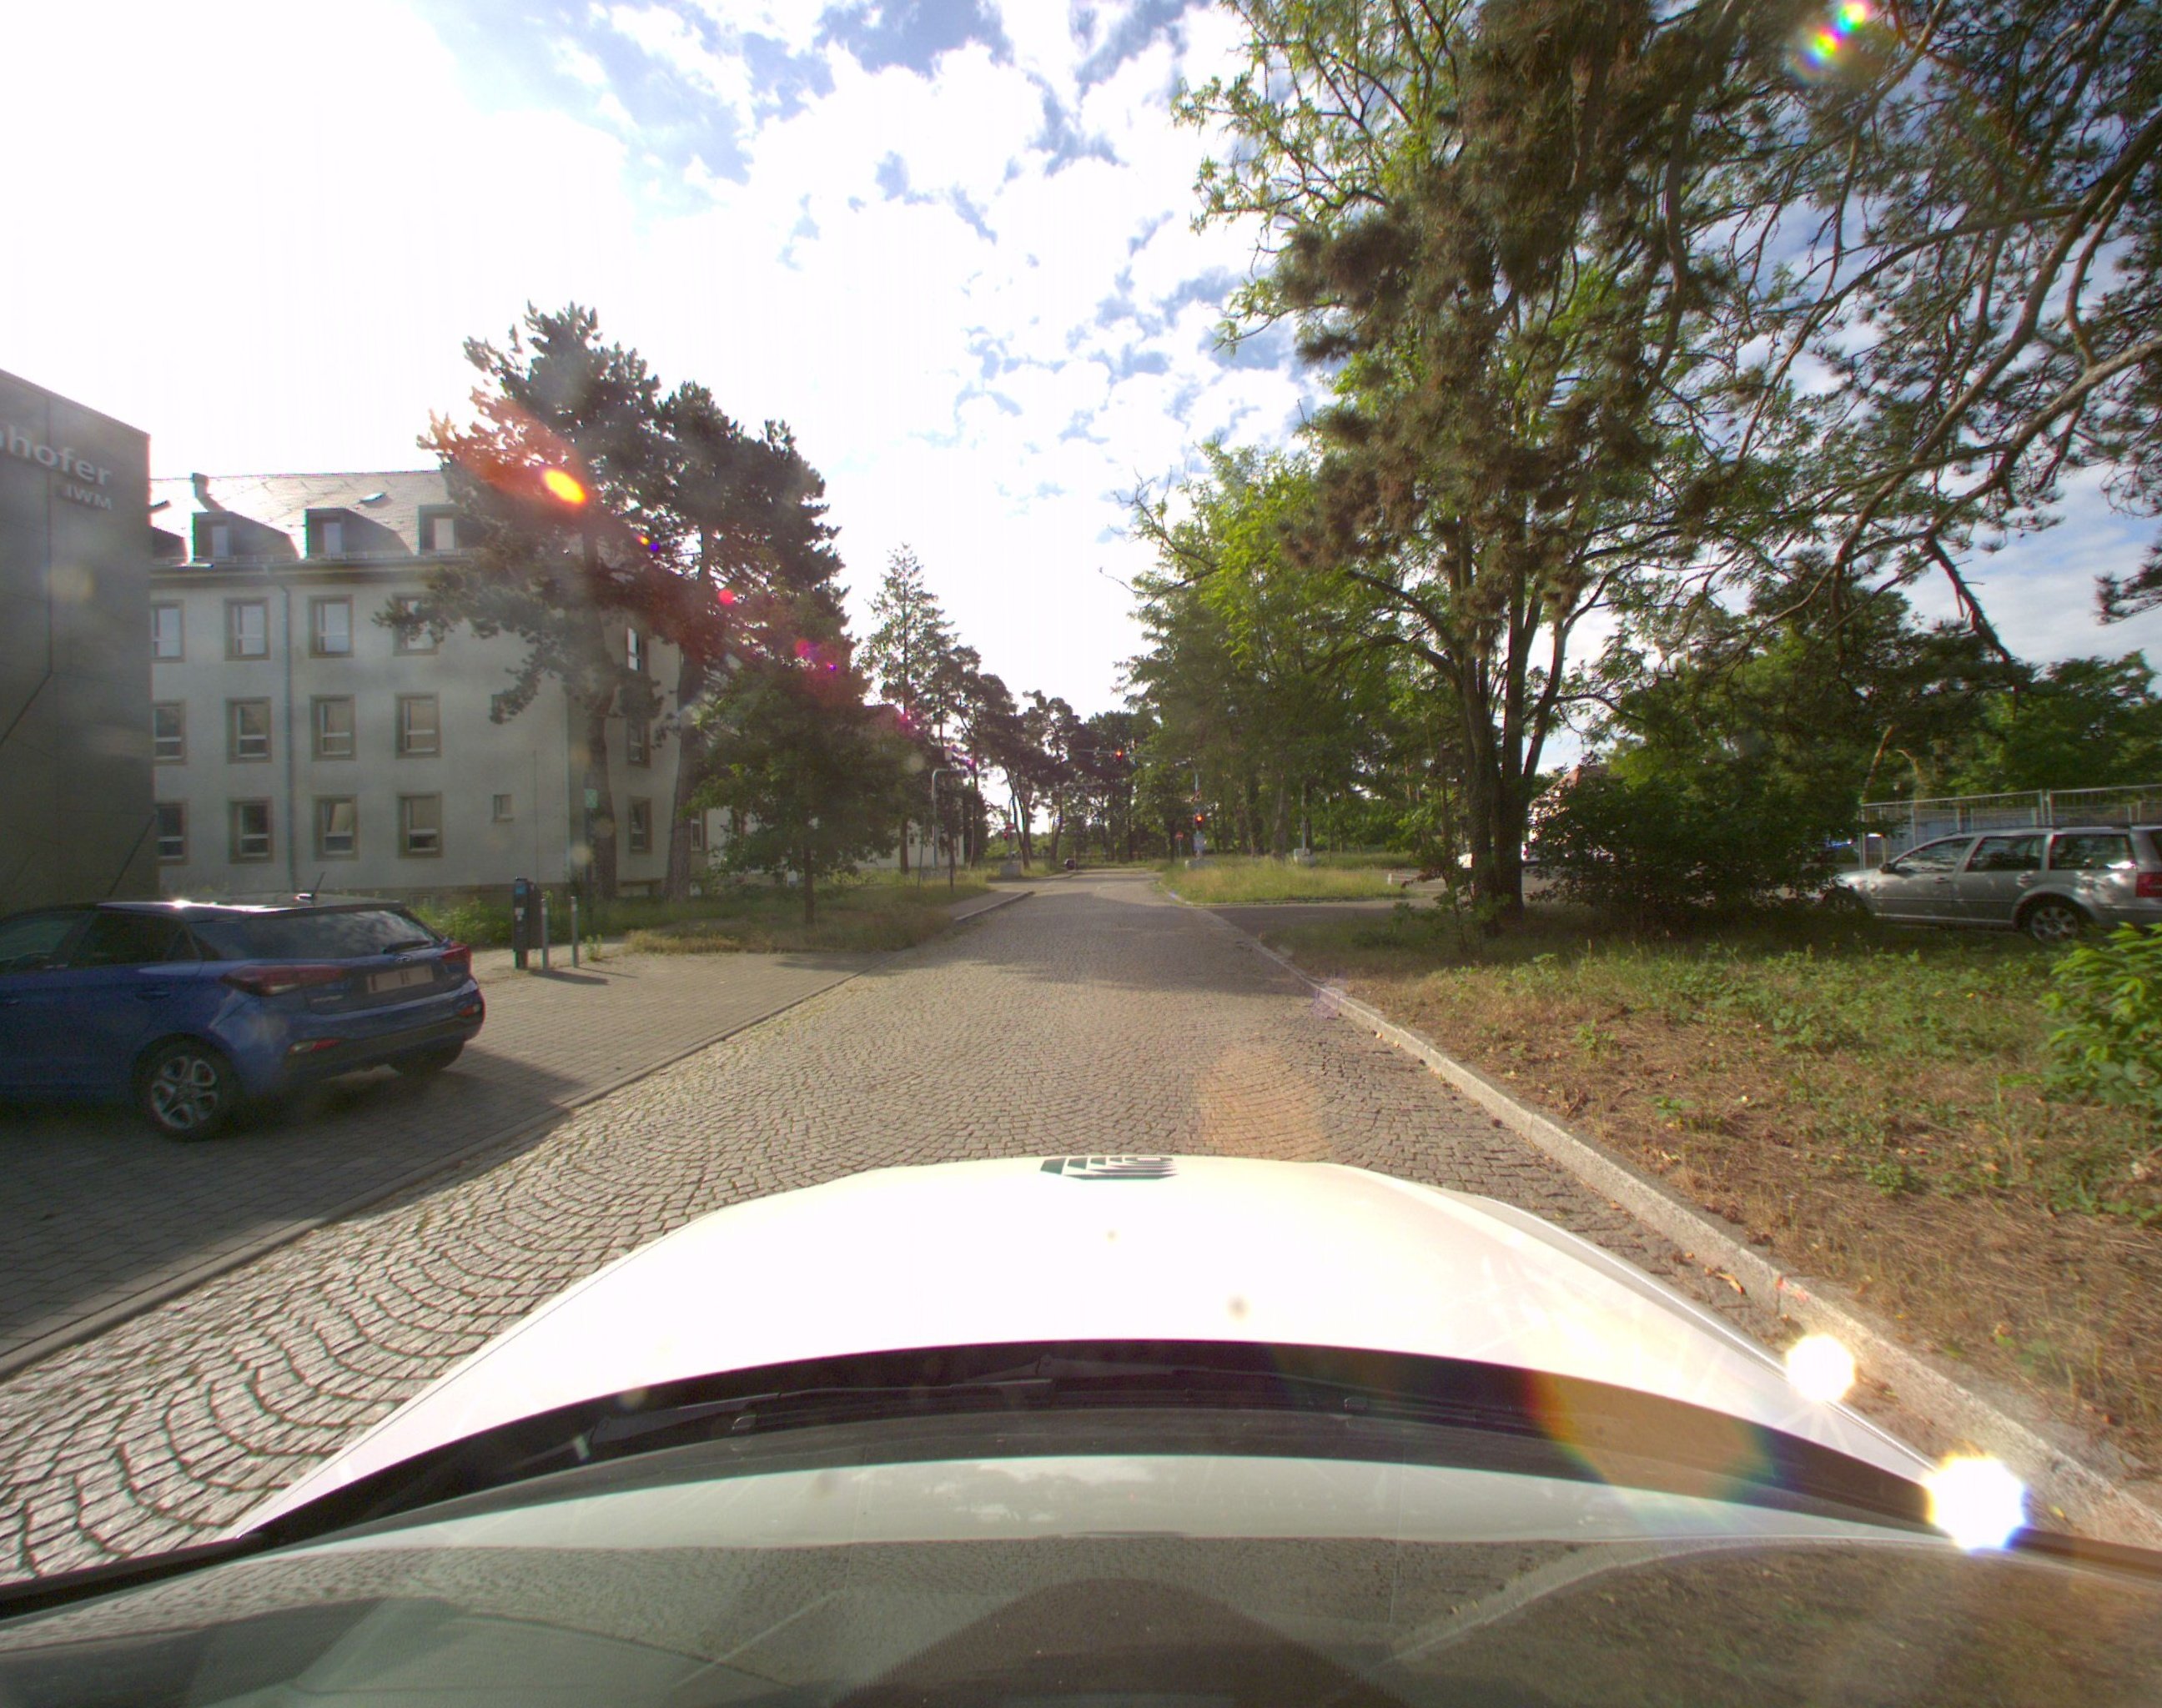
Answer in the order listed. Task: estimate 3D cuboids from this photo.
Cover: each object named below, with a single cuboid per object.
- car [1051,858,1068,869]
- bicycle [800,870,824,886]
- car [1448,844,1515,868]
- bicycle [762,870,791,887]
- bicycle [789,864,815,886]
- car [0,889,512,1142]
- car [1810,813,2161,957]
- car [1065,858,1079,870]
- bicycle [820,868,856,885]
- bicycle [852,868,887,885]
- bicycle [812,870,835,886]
[{"bbox_3d":[-3.054,1.330,116.858,1.772,1.490,3.765,-2,0,9],"label":"car"},{"bbox_3d":[-18.540,1.661,56.140,0.823,1.047,2.125,-2,0,2],"label":"bicycle"},{"bbox_3d":[23.288,0.109,47.542,1.726,1.312,4.330,-2,0,-1],"label":"car"},{"bbox_3d":[-20.998,1.680,56.248,0.897,1.047,2.555,-2,0,2],"label":"bicycle"},{"bbox_3d":[-19.321,1.460,56.505,0.823,1.437,2.555,-2,0,2],"label":"bicycle"},{"bbox_3d":[-6.631,1.023,5.909,3.819,1.464,1.721,0,0,3],"label":"car"},{"bbox_3d":[11.787,0.294,10.204,1.662,1.468,3.998,-2,0,-1],"label":"car"},{"bbox_3d":[-1.248,1.370,111.994,1.839,1.486,3.999,-2,0,0],"label":"car"},{"bbox_3d":[-16.362,1.508,54.871,2.111,1.108,0.828,-2,0,-2],"label":"bicycle"},{"bbox_3d":[-14.240,1.489,54.906,2.111,1.047,0.828,-2,0,-2],"label":"bicycle"},{"bbox_3d":[-17.758,1.655,56.161,0.823,1.047,2.125,-2,0,2],"label":"bicycle"}]
